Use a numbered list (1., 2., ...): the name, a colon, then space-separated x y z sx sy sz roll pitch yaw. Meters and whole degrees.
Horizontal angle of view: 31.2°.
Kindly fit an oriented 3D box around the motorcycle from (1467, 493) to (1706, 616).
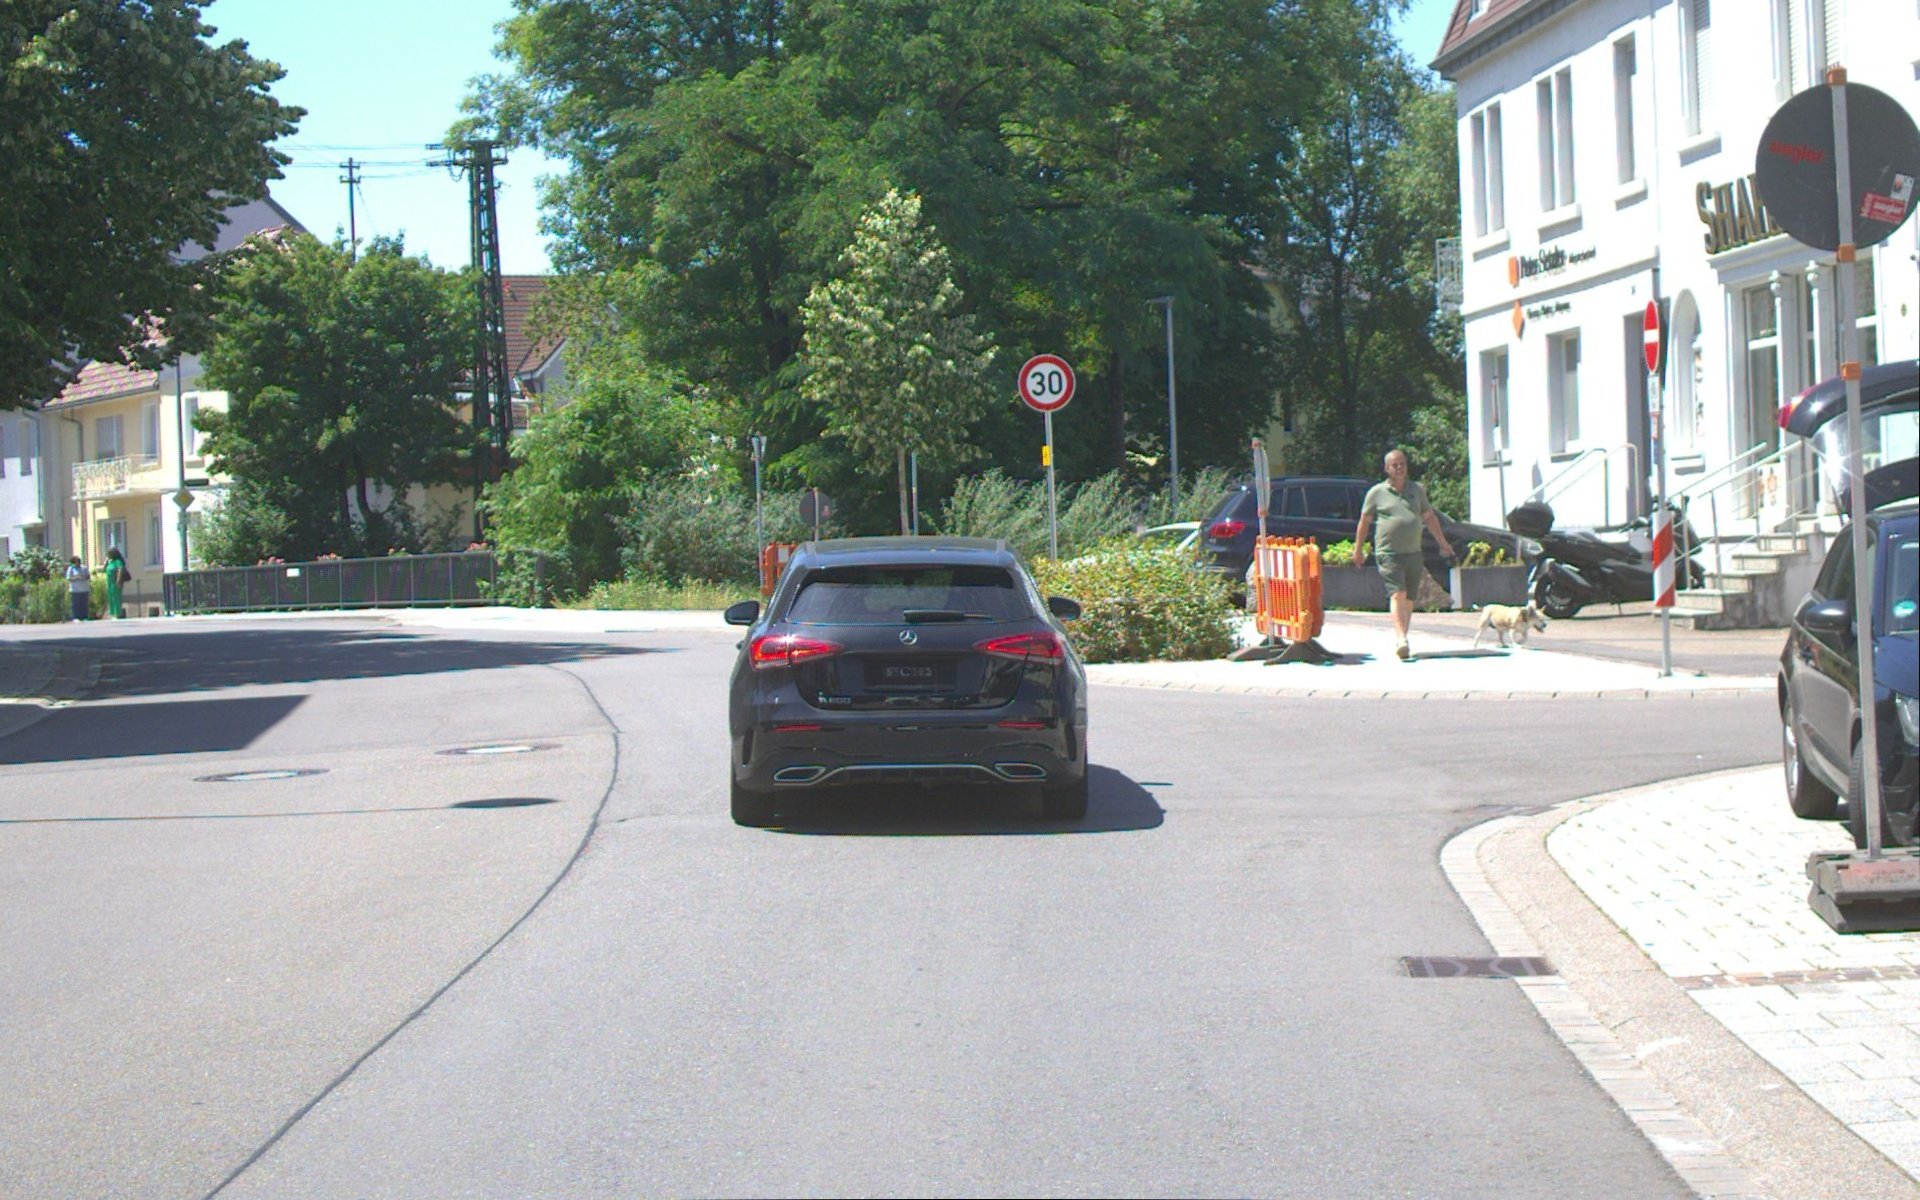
1. motorcycle: 6.750 -0.501 37.088 2.376 1.271 0.856 -1 1 -5

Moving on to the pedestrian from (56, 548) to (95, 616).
1. pedestrian: -21.448 -0.429 83.352 0.614 1.607 0.837 -2 0 -35

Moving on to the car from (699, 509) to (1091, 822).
1. car: -0.329 0.346 18.415 1.827 1.437 4.000 -2 -1 -1

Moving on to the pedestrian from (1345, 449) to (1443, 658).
1. pedestrian: 3.824 -0.419 30.334 0.746 1.790 0.844 -2 2 3

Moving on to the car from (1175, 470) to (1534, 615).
1. car: 4.830 -0.708 42.431 4.074 1.710 1.856 -1 0 -6

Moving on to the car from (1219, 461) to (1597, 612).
1. car: 5.232 -0.741 40.447 4.074 1.710 1.856 -1 0 -6

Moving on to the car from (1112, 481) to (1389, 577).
1. car: 4.560 -1.113 53.655 4.191 1.345 1.860 -1 5 -41

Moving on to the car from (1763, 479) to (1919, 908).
1. car: 4.473 0.248 14.284 1.872 1.486 3.861 -3 2 9

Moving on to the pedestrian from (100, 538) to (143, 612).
1. pedestrian: -20.200 -0.600 82.797 0.701 1.735 0.661 -2 0 43
